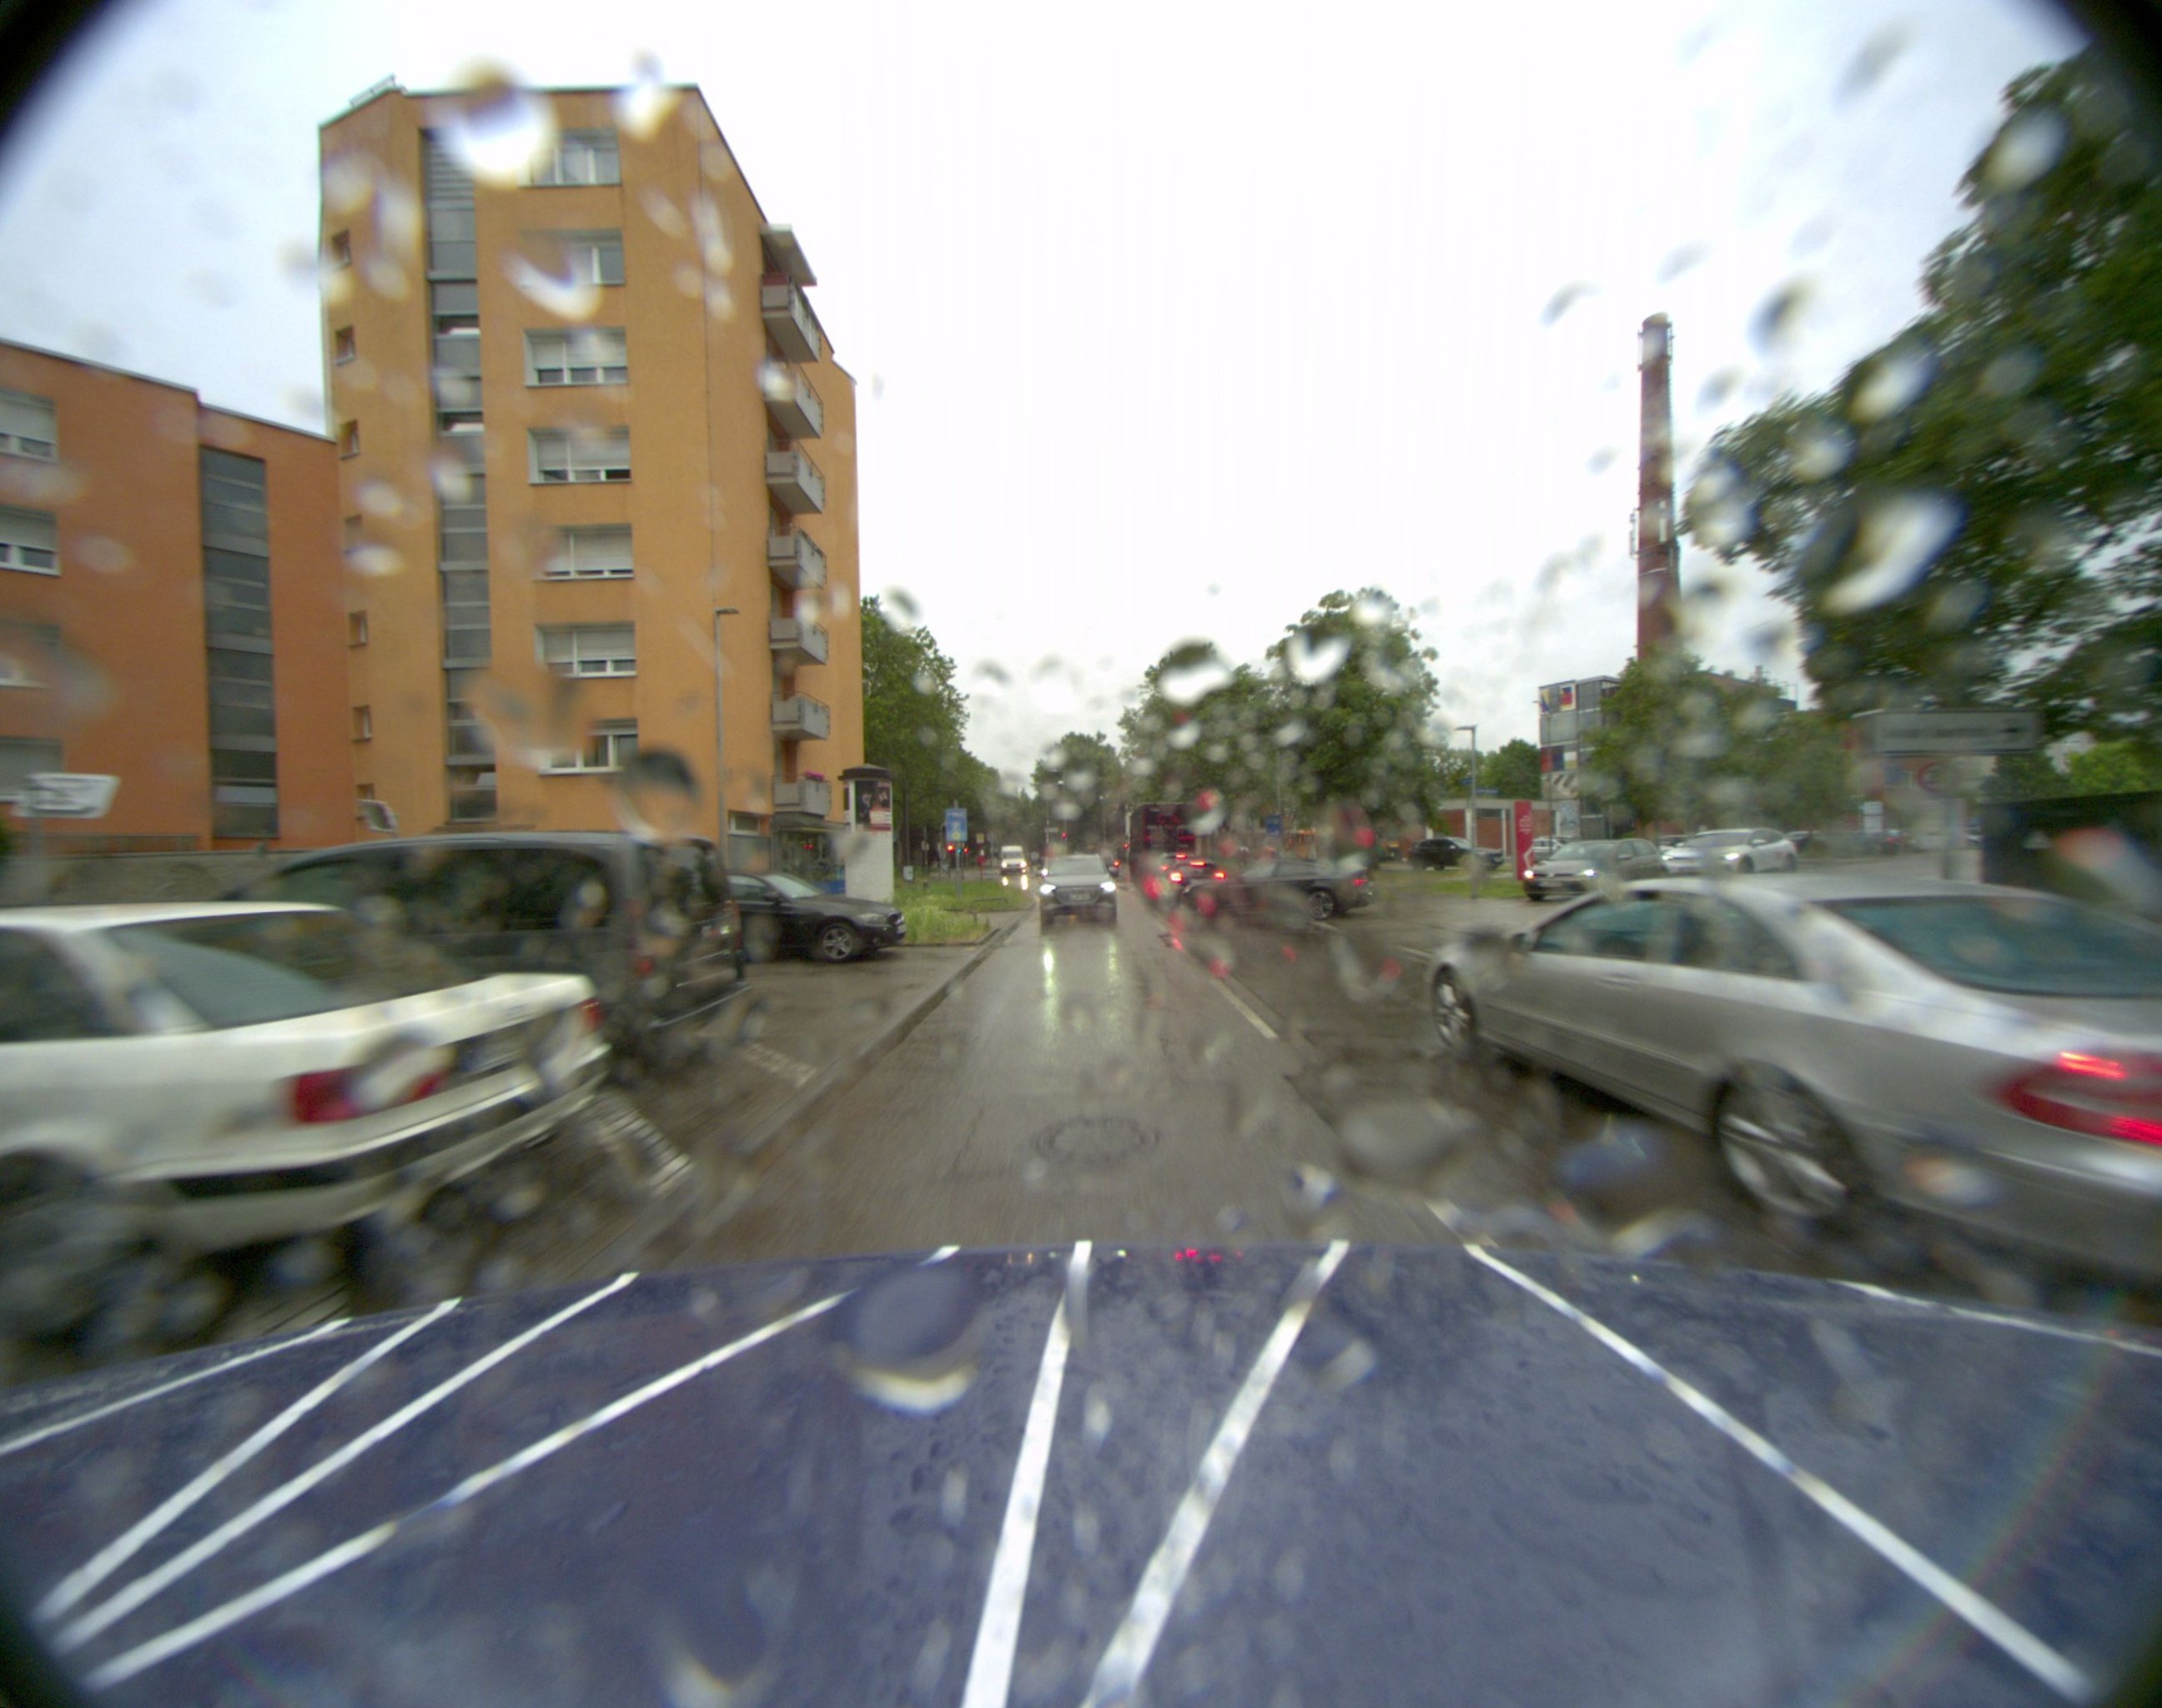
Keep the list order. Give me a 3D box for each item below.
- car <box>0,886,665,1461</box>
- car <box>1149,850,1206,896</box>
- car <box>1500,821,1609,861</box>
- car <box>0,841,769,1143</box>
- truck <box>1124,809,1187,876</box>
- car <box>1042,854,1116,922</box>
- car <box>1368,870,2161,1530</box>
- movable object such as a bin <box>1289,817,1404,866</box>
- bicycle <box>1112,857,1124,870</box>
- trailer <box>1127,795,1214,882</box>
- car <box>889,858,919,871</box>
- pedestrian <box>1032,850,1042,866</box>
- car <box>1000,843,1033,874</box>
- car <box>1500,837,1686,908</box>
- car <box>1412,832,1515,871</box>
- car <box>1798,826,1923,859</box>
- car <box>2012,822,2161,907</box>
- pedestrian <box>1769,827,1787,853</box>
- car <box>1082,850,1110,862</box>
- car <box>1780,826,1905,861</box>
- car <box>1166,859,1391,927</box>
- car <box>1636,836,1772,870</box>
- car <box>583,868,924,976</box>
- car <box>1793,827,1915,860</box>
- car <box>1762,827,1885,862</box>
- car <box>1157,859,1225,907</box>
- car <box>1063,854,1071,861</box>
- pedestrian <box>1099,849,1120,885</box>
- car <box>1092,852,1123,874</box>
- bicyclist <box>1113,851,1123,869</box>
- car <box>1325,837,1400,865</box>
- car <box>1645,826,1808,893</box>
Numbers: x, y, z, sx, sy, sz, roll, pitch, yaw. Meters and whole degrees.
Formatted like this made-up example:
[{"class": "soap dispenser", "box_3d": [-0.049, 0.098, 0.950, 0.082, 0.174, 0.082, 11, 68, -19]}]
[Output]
[{"class": "car", "box_3d": [-4.360, 1.008, 3.118, 4.200, 1.559, 1.888, -1, 1, -1]}, {"class": "car", "box_3d": [3.867, 0.703, 31.187, 1.872, 1.610, 4.801, -1, 2, 2]}, {"class": "car", "box_3d": [26.046, -0.682, 41.951, 2.003, 2.002, 4.666, -2, 0, -34]}, {"class": "car", "box_3d": [-4.863, 0.840, 5.675, 4.243, 1.795, 1.944, -1, 1, -3]}, {"class": "truck", "box_3d": [4.834, -0.686, 50.557, 3.459, 4.054, 6.974, -2, 0, 1]}, {"class": "car", "box_3d": [-0.002, 0.829, 20.619, 1.809, 1.611, 4.137, 0, 0, 1]}, {"class": "car", "box_3d": [3.449, 0.887, 4.225, 1.779, 1.395, 4.829, -2, 0, -1]}, {"class": "movable object such as a bin", "box_3d": [17.401, -0.773, 50.210, 6.767, 2.913, 2.777, -2, 0, 11]}, {"class": "bicycle", "box_3d": [3.056, 0.795, 63.377, 0.533, 1.018, 1.872, -1, 0, -12]}, {"class": "trailer", "box_3d": [4.695, -0.713, 43.558, 3.451, 4.025, 15.051, -1, 0, 1]}, {"class": "car", "box_3d": [-23.230, 1.344, 99.944, 3.459, 1.516, 1.842, -2, 0, -3]}, {"class": "pedestrian", "box_3d": [-4.486, 0.404, 77.021, 0.864, 1.572, 0.642, -1, 0, -16]}, {"class": "car", "box_3d": [-5.832, 0.383, 67.810, 2.284, 2.547, 6.505, -2, 0, -10]}, {"class": "car", "box_3d": [12.500, 0.390, 18.512, 4.346, 1.387, 2.008, -3, 1, -30]}, {"class": "car", "box_3d": [18.430, -0.115, 36.791, 2.003, 1.780, 3.991, -1, 0, -31]}, {"class": "car", "box_3d": [46.164, -0.657, 45.127, 2.003, 1.713, 4.891, -2, 0, -34]}, {"class": "car", "box_3d": [20.141, 0.162, 13.494, 1.792, 1.500, 4.290, -1, -1, -29]}, {"class": "pedestrian", "box_3d": [45.802, -0.894, 49.936, 0.781, 1.674, 0.676, -1, 0, -30]}, {"class": "car", "box_3d": [2.557, 0.363, 130.800, 4.668, 1.862, 2.034, -1, 0, 2]}, {"class": "car", "box_3d": [42.187, -0.547, 42.211, 2.003, 1.726, 4.576, -2, 0, -34]}, {"class": "car", "box_3d": [4.792, 0.891, 18.693, 4.915, 1.445, 2.090, -1, 0, 33]}, {"class": "car", "box_3d": [27.080, -0.021, 33.191, 1.626, 1.371, 4.299, -1, 0, -30]}, {"class": "car", "box_3d": [-5.013, 1.014, 12.127, 4.544, 1.462, 1.983, -1, 1, 1]}, {"class": "car", "box_3d": [44.037, -0.581, 43.379, 2.003, 1.726, 4.576, -2, 0, -34]}, {"class": "car", "box_3d": [40.020, -0.485, 41.036, 2.003, 1.726, 4.411, -2, 0, -34]}, {"class": "car", "box_3d": [3.441, 0.861, 24.405, 1.730, 1.353, 4.338, -1, 0, 3]}, {"class": "car", "box_3d": [-3.958, 0.975, 209.490, 1.999, 1.795, 4.349, -2, 0, -2]}, {"class": "pedestrian", "box_3d": [1.502, 0.678, 39.890, 0.870, 1.833, 0.993, -1, 0, 14]}, {"class": "car", "box_3d": [1.755, 0.625, 51.382, 1.703, 1.365, 4.099, -2, 0, -3]}, {"class": "bicyclist", "box_3d": [3.051, 0.473, 63.414, 0.581, 1.452, 1.010, -1, 0, -12]}, {"class": "car", "box_3d": [17.483, -0.143, 47.314, 3.994, 1.591, 2.002, -2, -1, 9]}, {"class": "car", "box_3d": [18.592, 0.120, 21.848, 4.655, 1.697, 2.041, -2, 0, -29]}]
